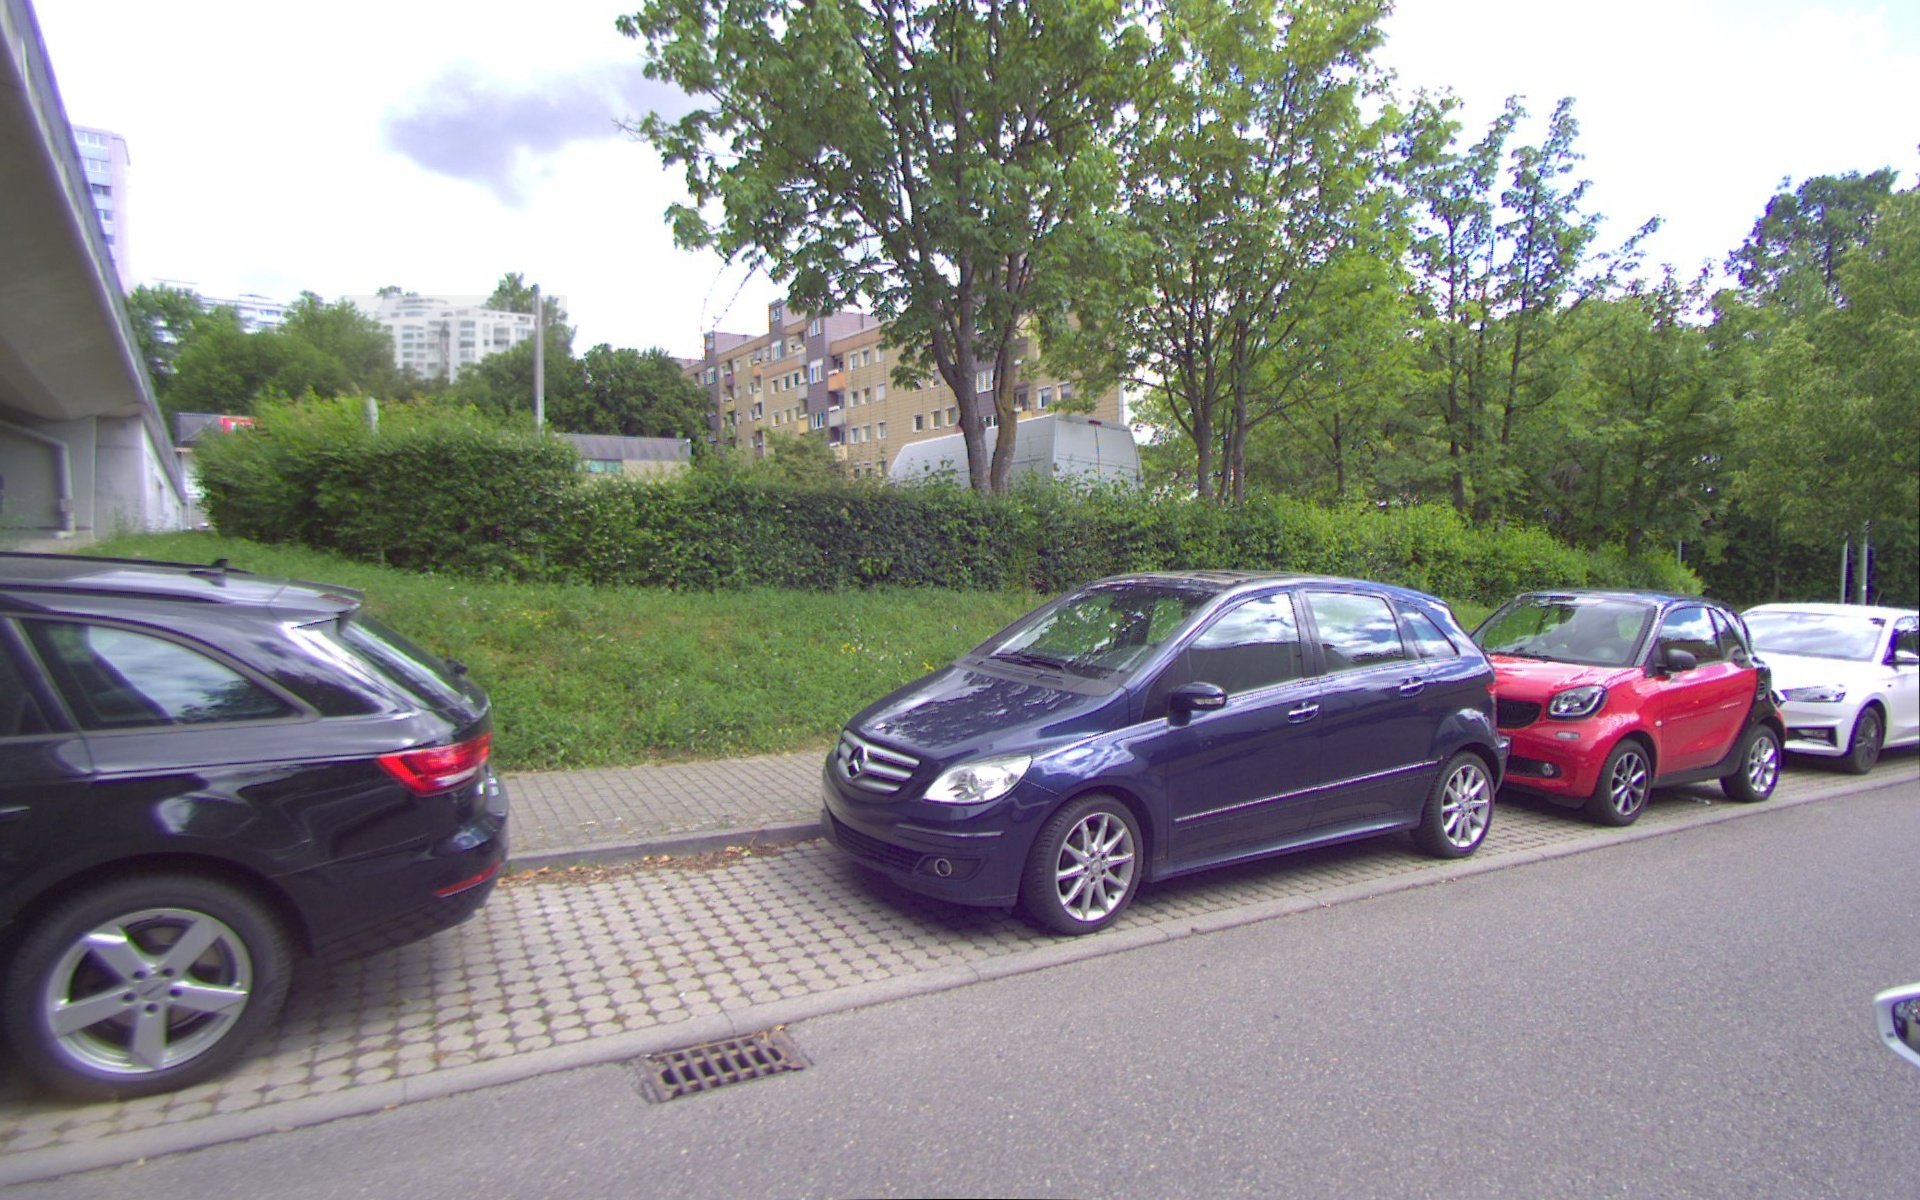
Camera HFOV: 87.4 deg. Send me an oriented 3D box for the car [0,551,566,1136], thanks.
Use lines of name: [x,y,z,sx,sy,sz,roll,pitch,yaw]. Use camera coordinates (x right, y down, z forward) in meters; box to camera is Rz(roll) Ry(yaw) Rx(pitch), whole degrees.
car: [-3.673,0.603,2.945,4.406,1.529,1.873,0,2,-34]

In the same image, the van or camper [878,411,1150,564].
van or camper: [0.694,-1.671,16.556,1.979,2.114,4.822,-1,3,-34]

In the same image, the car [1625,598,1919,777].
car: [8.701,0.757,10.191,3.923,1.456,1.666,1,2,-30]

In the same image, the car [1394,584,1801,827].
car: [4.912,0.680,7.752,2.679,1.526,1.522,1,2,-29]

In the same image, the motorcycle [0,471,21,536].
motorcycle: [-20.310,-1.948,19.931,2.292,1.288,0.878,-1,3,-35]

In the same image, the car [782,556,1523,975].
car: [1.138,0.629,5.677,3.794,1.580,1.874,0,4,-31]
